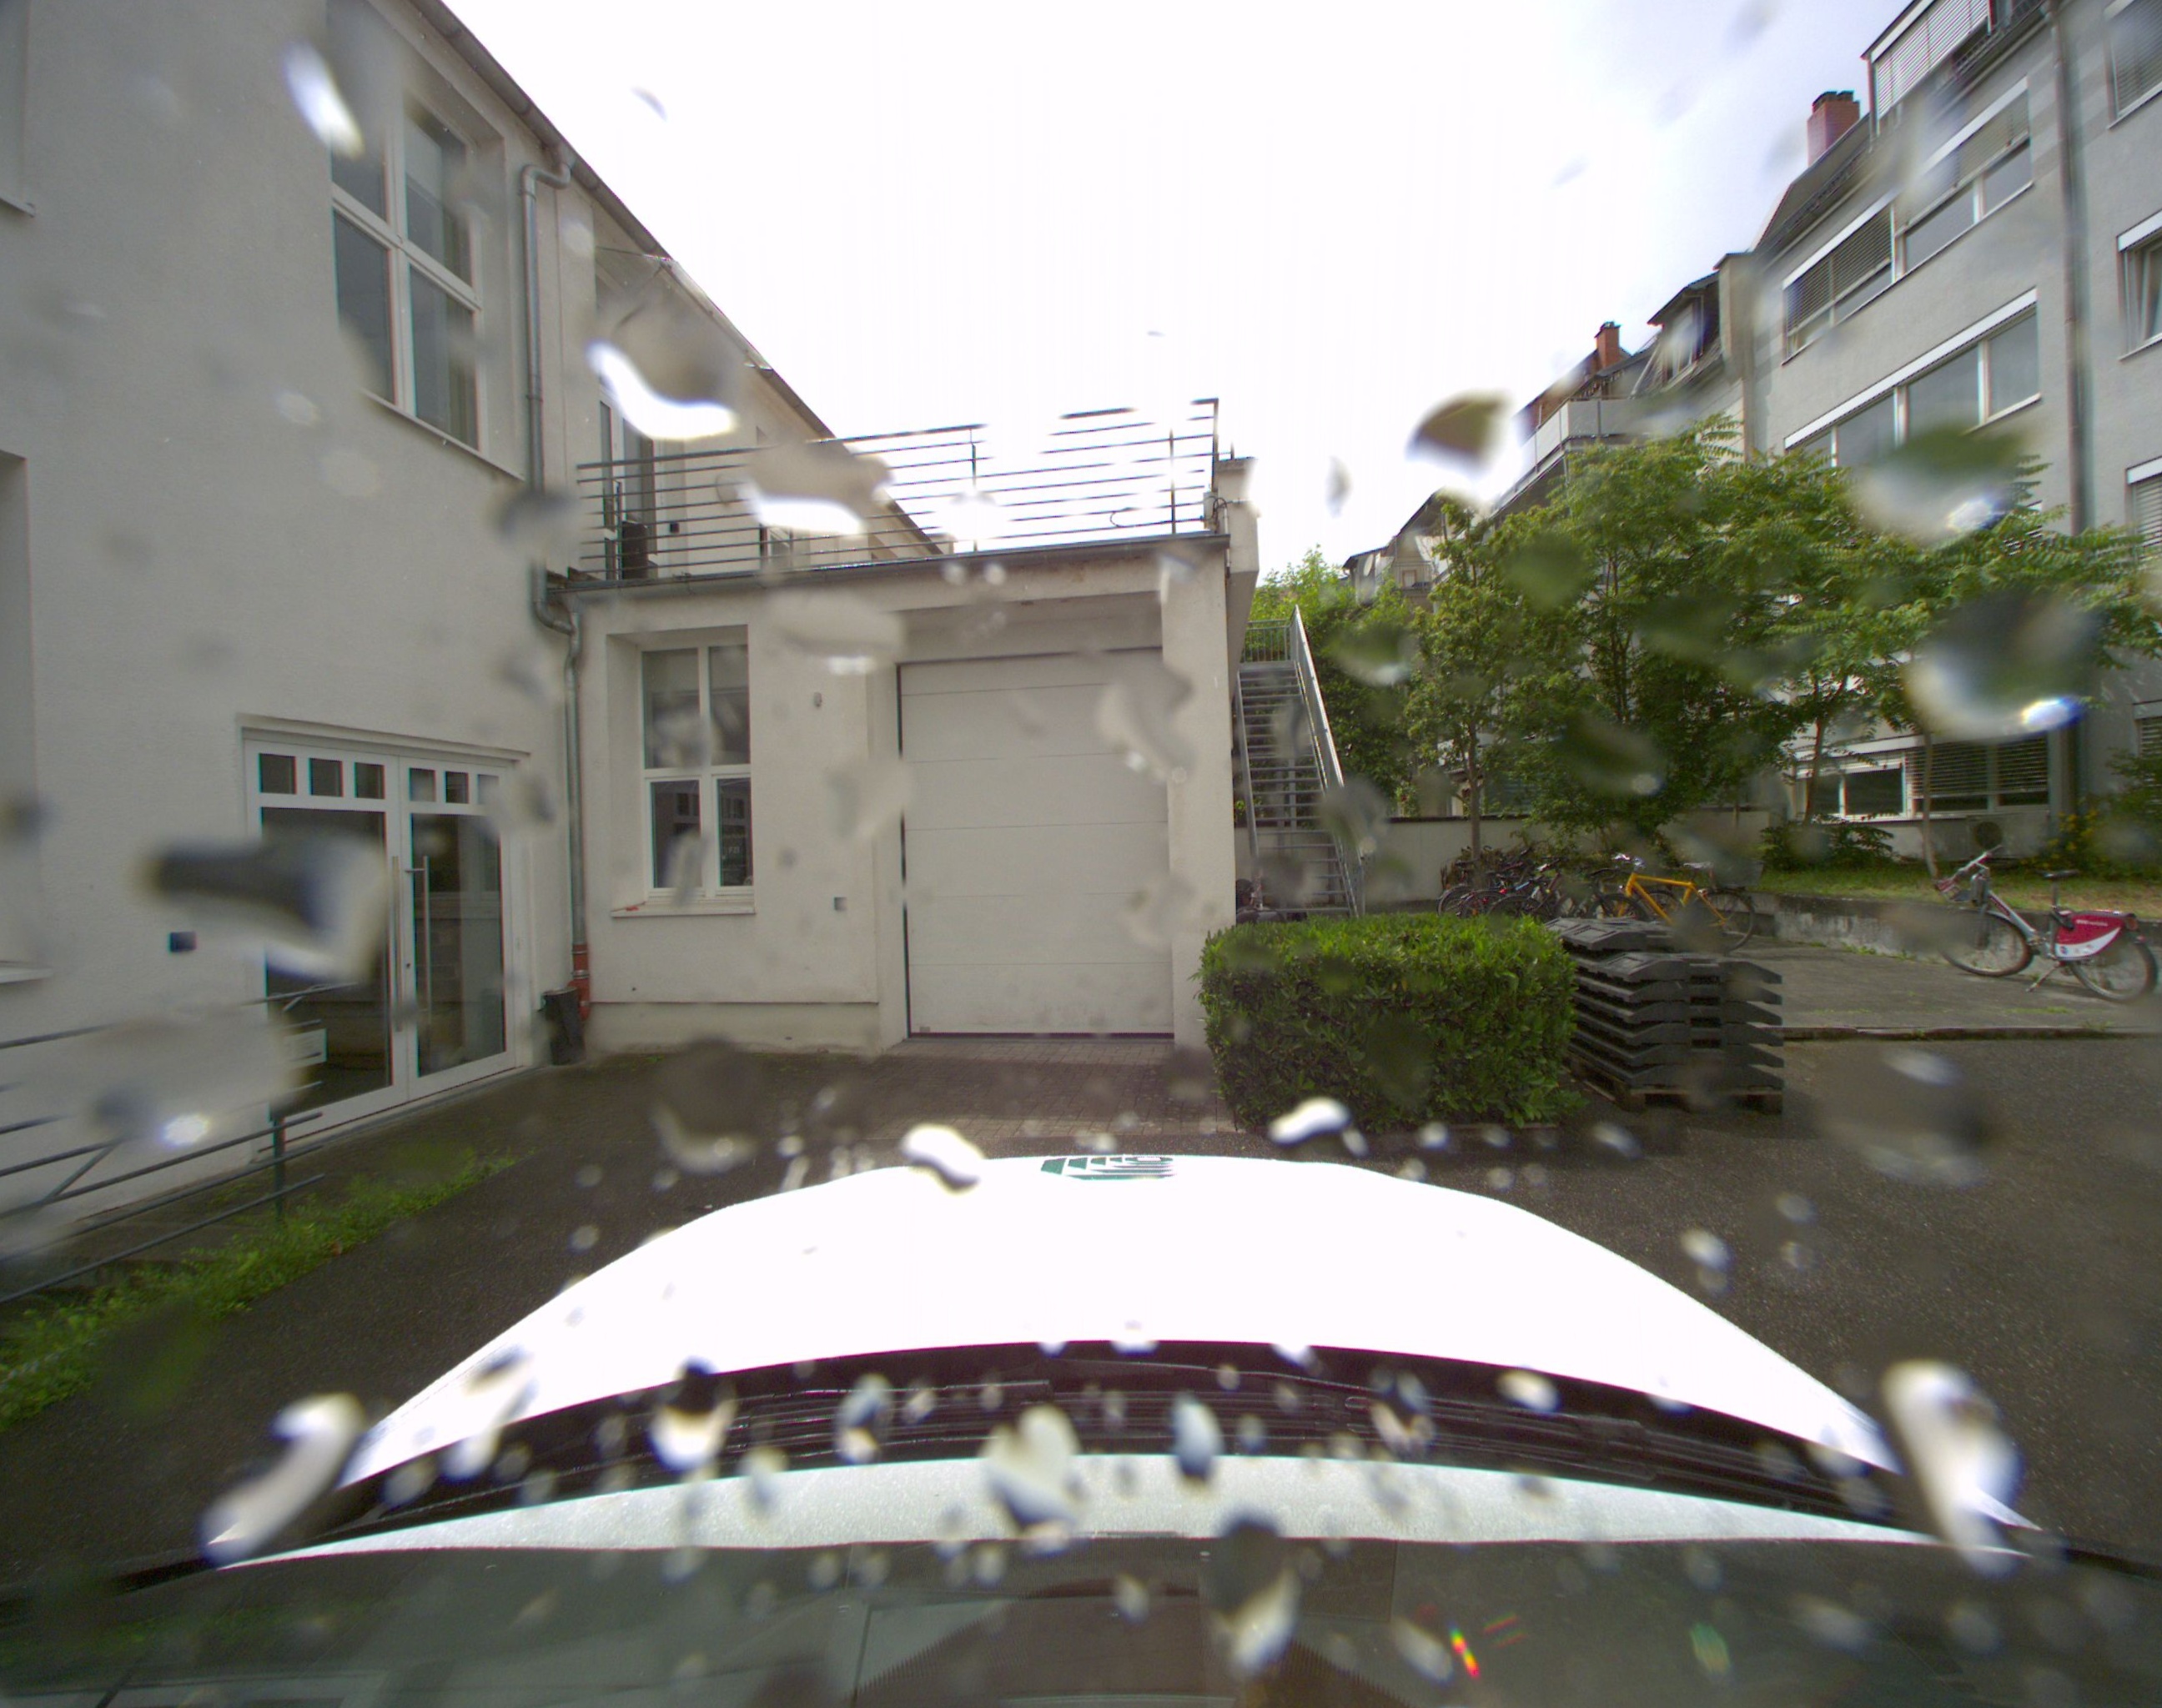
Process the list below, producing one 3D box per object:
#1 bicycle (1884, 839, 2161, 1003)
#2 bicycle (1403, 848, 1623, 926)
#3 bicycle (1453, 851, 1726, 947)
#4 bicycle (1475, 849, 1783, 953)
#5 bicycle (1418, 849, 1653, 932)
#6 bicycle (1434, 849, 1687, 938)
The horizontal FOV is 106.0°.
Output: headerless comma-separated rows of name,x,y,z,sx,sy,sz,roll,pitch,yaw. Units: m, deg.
bicycle,7.815,0.478,6.749,0.611,1.158,1.723,-3,0,1
bicycle,6.328,0.477,12.043,2.830,1.078,0.690,-1,1,5
bicycle,6.110,0.531,9.905,2.830,1.078,0.690,-1,1,5
bicycle,6.054,0.515,9.125,2.909,1.078,0.690,-1,1,5
bicycle,6.260,0.499,11.337,2.830,1.078,0.690,-1,1,5
bicycle,6.189,0.506,10.625,2.830,1.078,0.690,-1,1,5
